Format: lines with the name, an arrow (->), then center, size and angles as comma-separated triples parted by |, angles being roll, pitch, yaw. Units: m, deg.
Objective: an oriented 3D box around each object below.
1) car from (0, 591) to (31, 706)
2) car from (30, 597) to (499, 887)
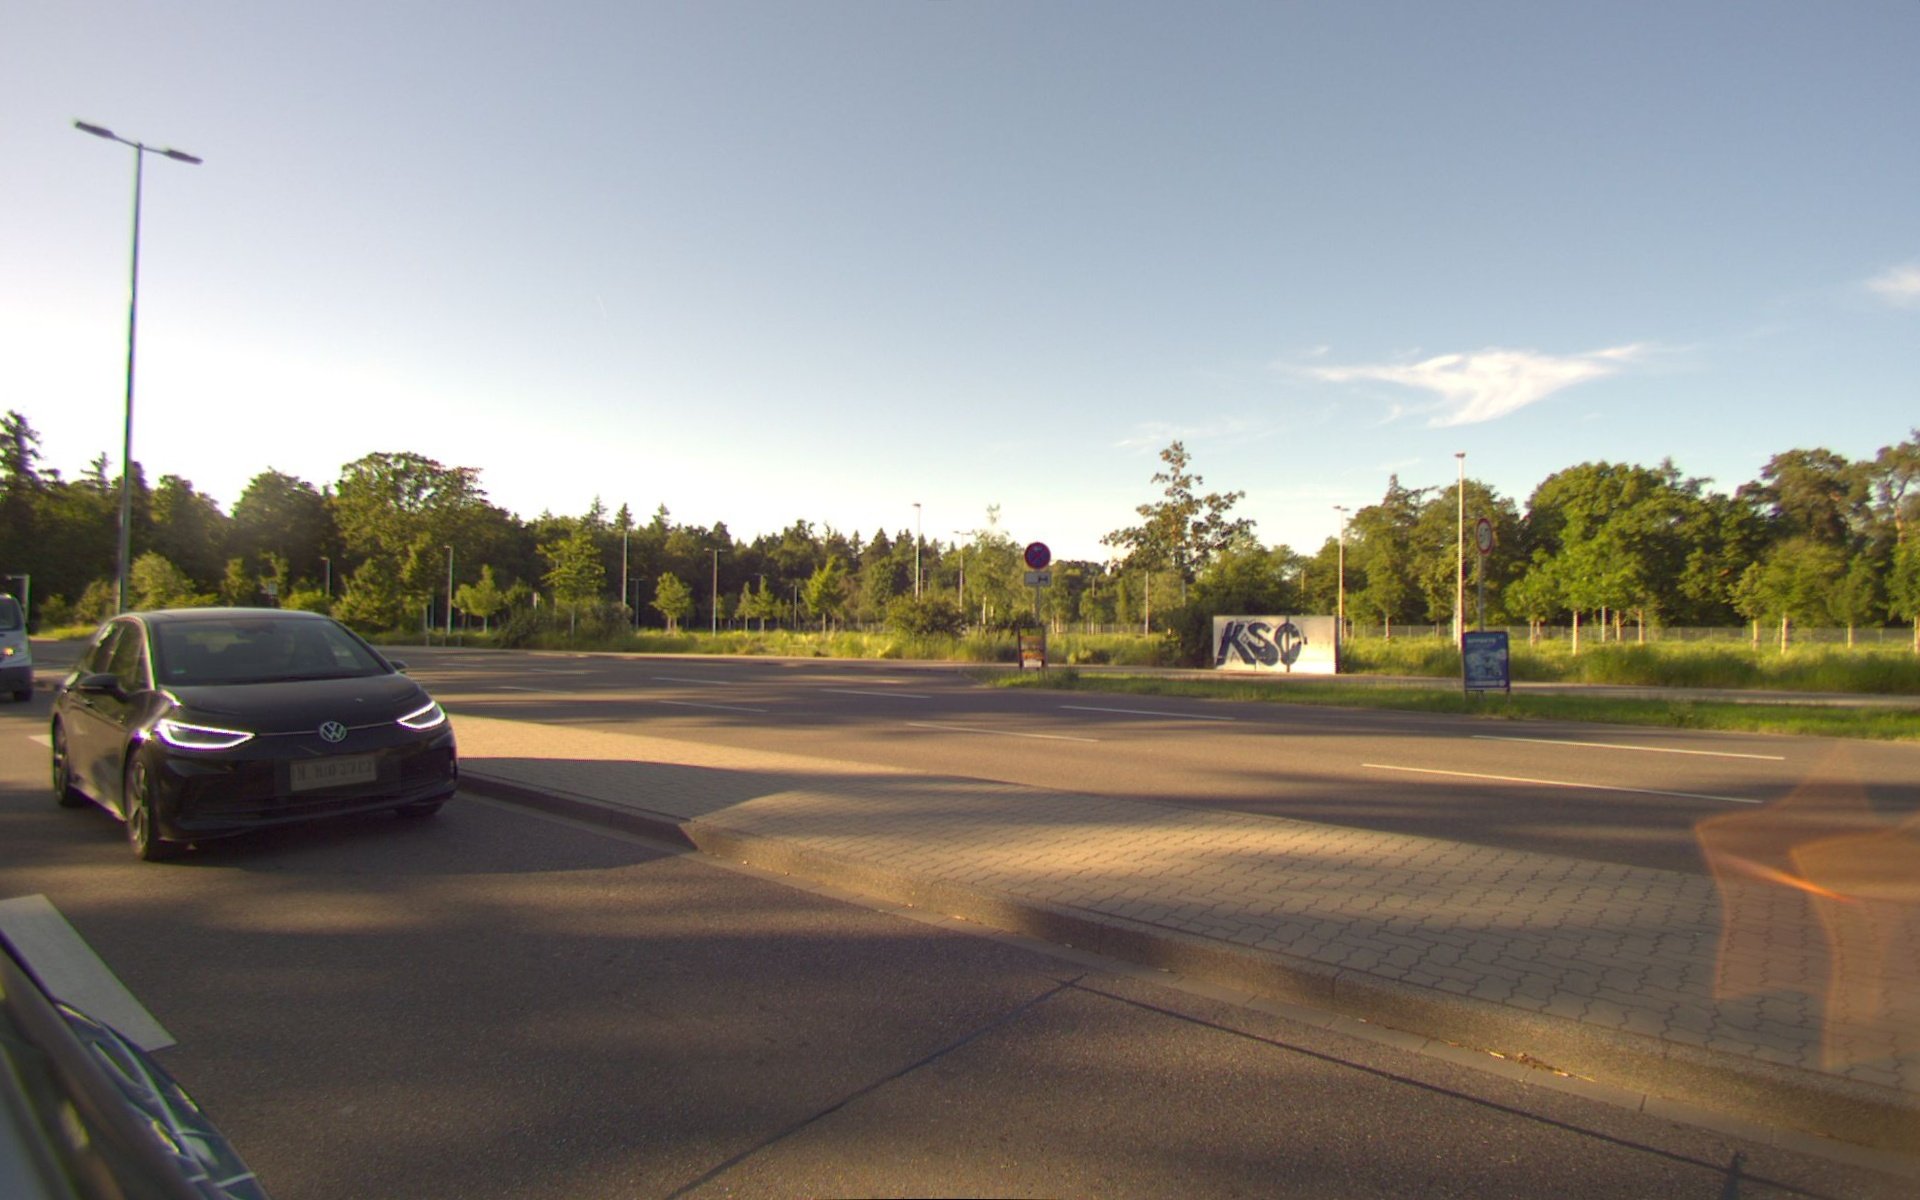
car -> -18.812, 0.904, 18.664 | 5.044, 1.977, 1.859 | -2, -1, 40
car -> -5.257, 0.781, 7.453 | 3.997, 1.548, 1.859 | -1, 0, 40
